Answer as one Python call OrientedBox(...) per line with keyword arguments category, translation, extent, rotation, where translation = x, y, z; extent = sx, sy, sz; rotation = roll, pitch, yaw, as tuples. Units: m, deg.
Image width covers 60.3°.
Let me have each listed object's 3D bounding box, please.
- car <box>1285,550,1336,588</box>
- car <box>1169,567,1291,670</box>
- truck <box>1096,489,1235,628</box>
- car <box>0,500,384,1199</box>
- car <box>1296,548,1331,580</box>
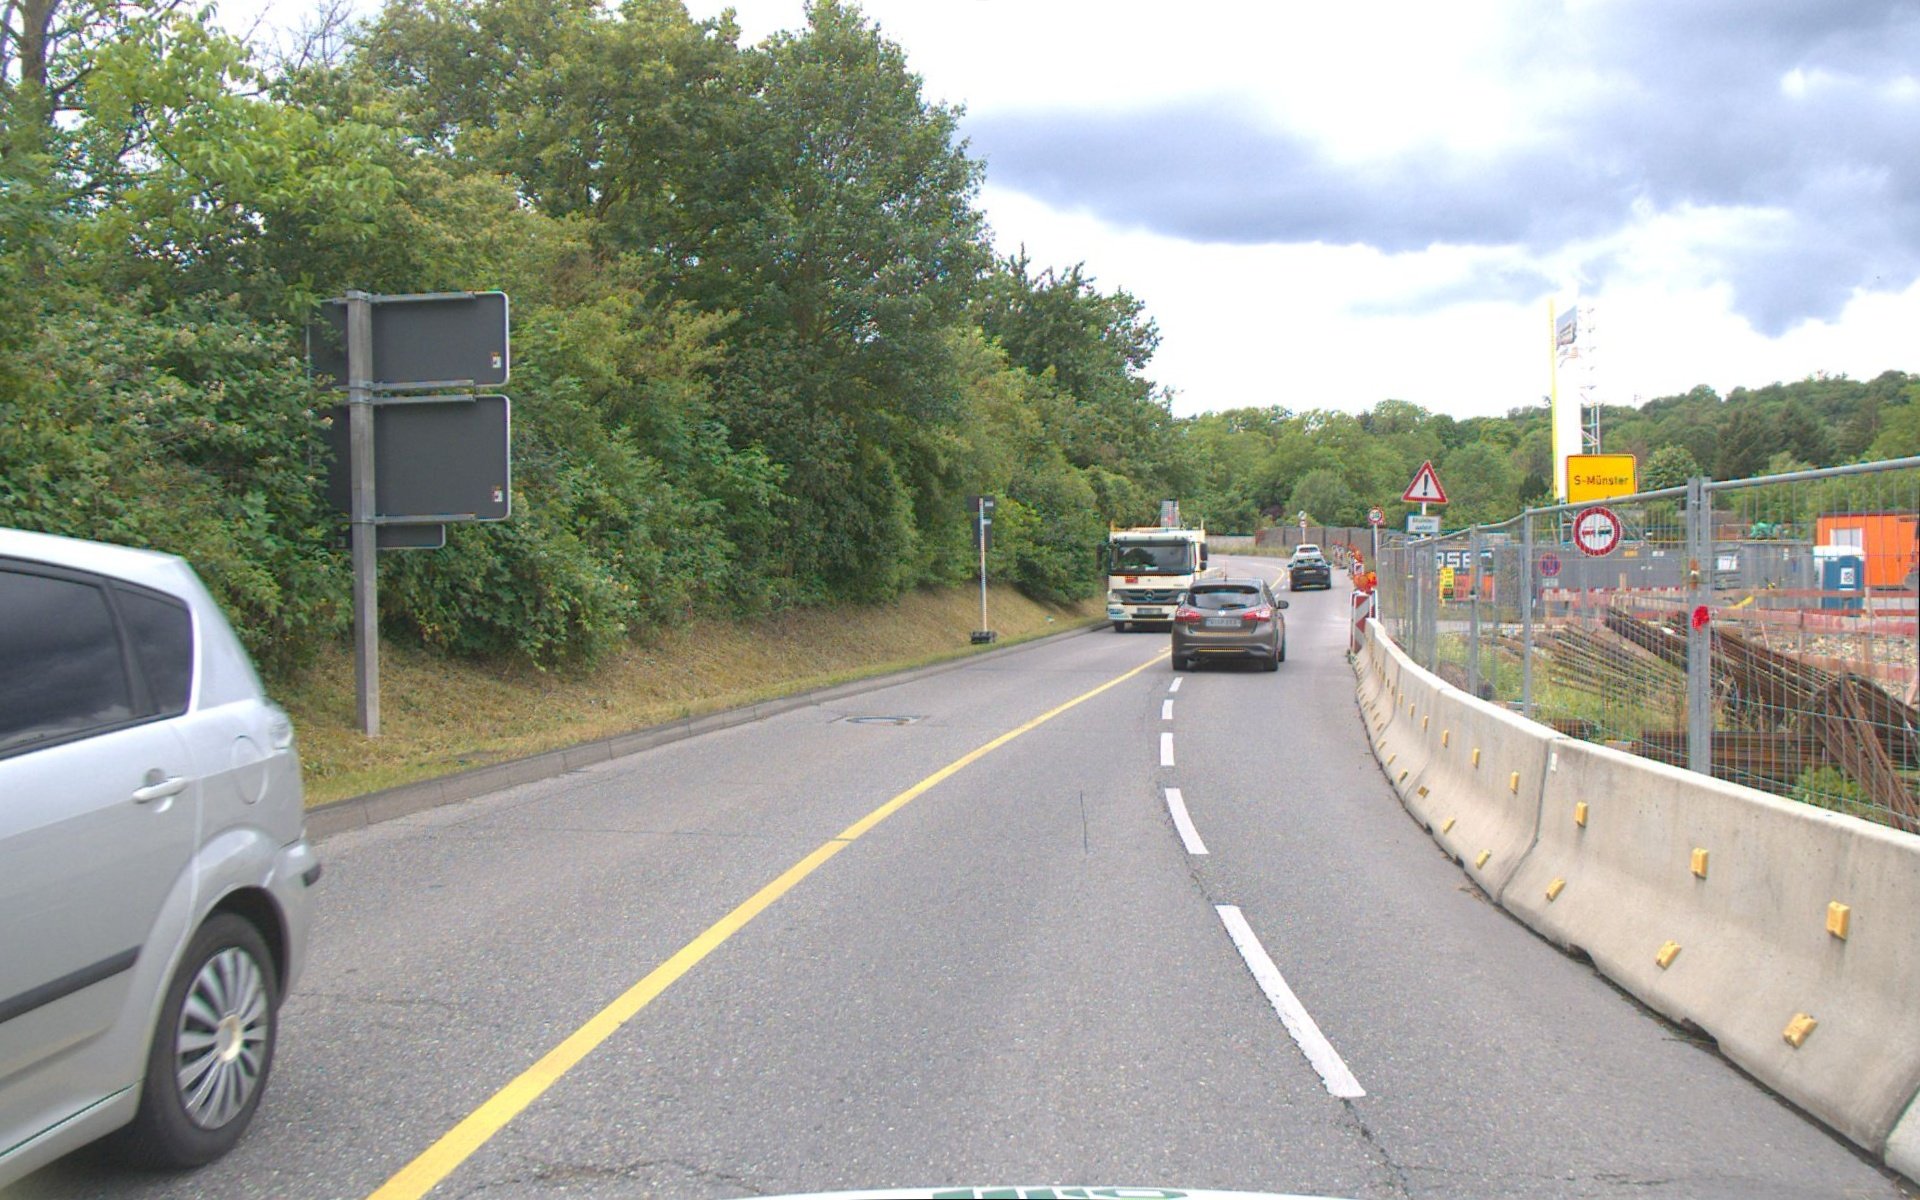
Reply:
OrientedBox(category="car", translation=(15.360, -1.380, 72.376), extent=(1.781, 1.579, 3.791), rotation=(0, 2, 18))
OrientedBox(category="car", translation=(4.736, 0.255, 28.655), extent=(1.759, 1.579, 4.004), rotation=(1, 2, 14))
OrientedBox(category="truck", translation=(5.815, -1.173, 45.508), extent=(2.760, 3.393, 8.389), rotation=(-1, 2, 14))
OrientedBox(category="car", translation=(-2.685, 0.586, 2.885), extent=(1.621, 1.579, 4.189), rotation=(1, 0, 4))
OrientedBox(category="car", translation=(20.614, -2.080, 96.616), extent=(1.675, 1.704, 4.003), rotation=(-2, 0, 8))
